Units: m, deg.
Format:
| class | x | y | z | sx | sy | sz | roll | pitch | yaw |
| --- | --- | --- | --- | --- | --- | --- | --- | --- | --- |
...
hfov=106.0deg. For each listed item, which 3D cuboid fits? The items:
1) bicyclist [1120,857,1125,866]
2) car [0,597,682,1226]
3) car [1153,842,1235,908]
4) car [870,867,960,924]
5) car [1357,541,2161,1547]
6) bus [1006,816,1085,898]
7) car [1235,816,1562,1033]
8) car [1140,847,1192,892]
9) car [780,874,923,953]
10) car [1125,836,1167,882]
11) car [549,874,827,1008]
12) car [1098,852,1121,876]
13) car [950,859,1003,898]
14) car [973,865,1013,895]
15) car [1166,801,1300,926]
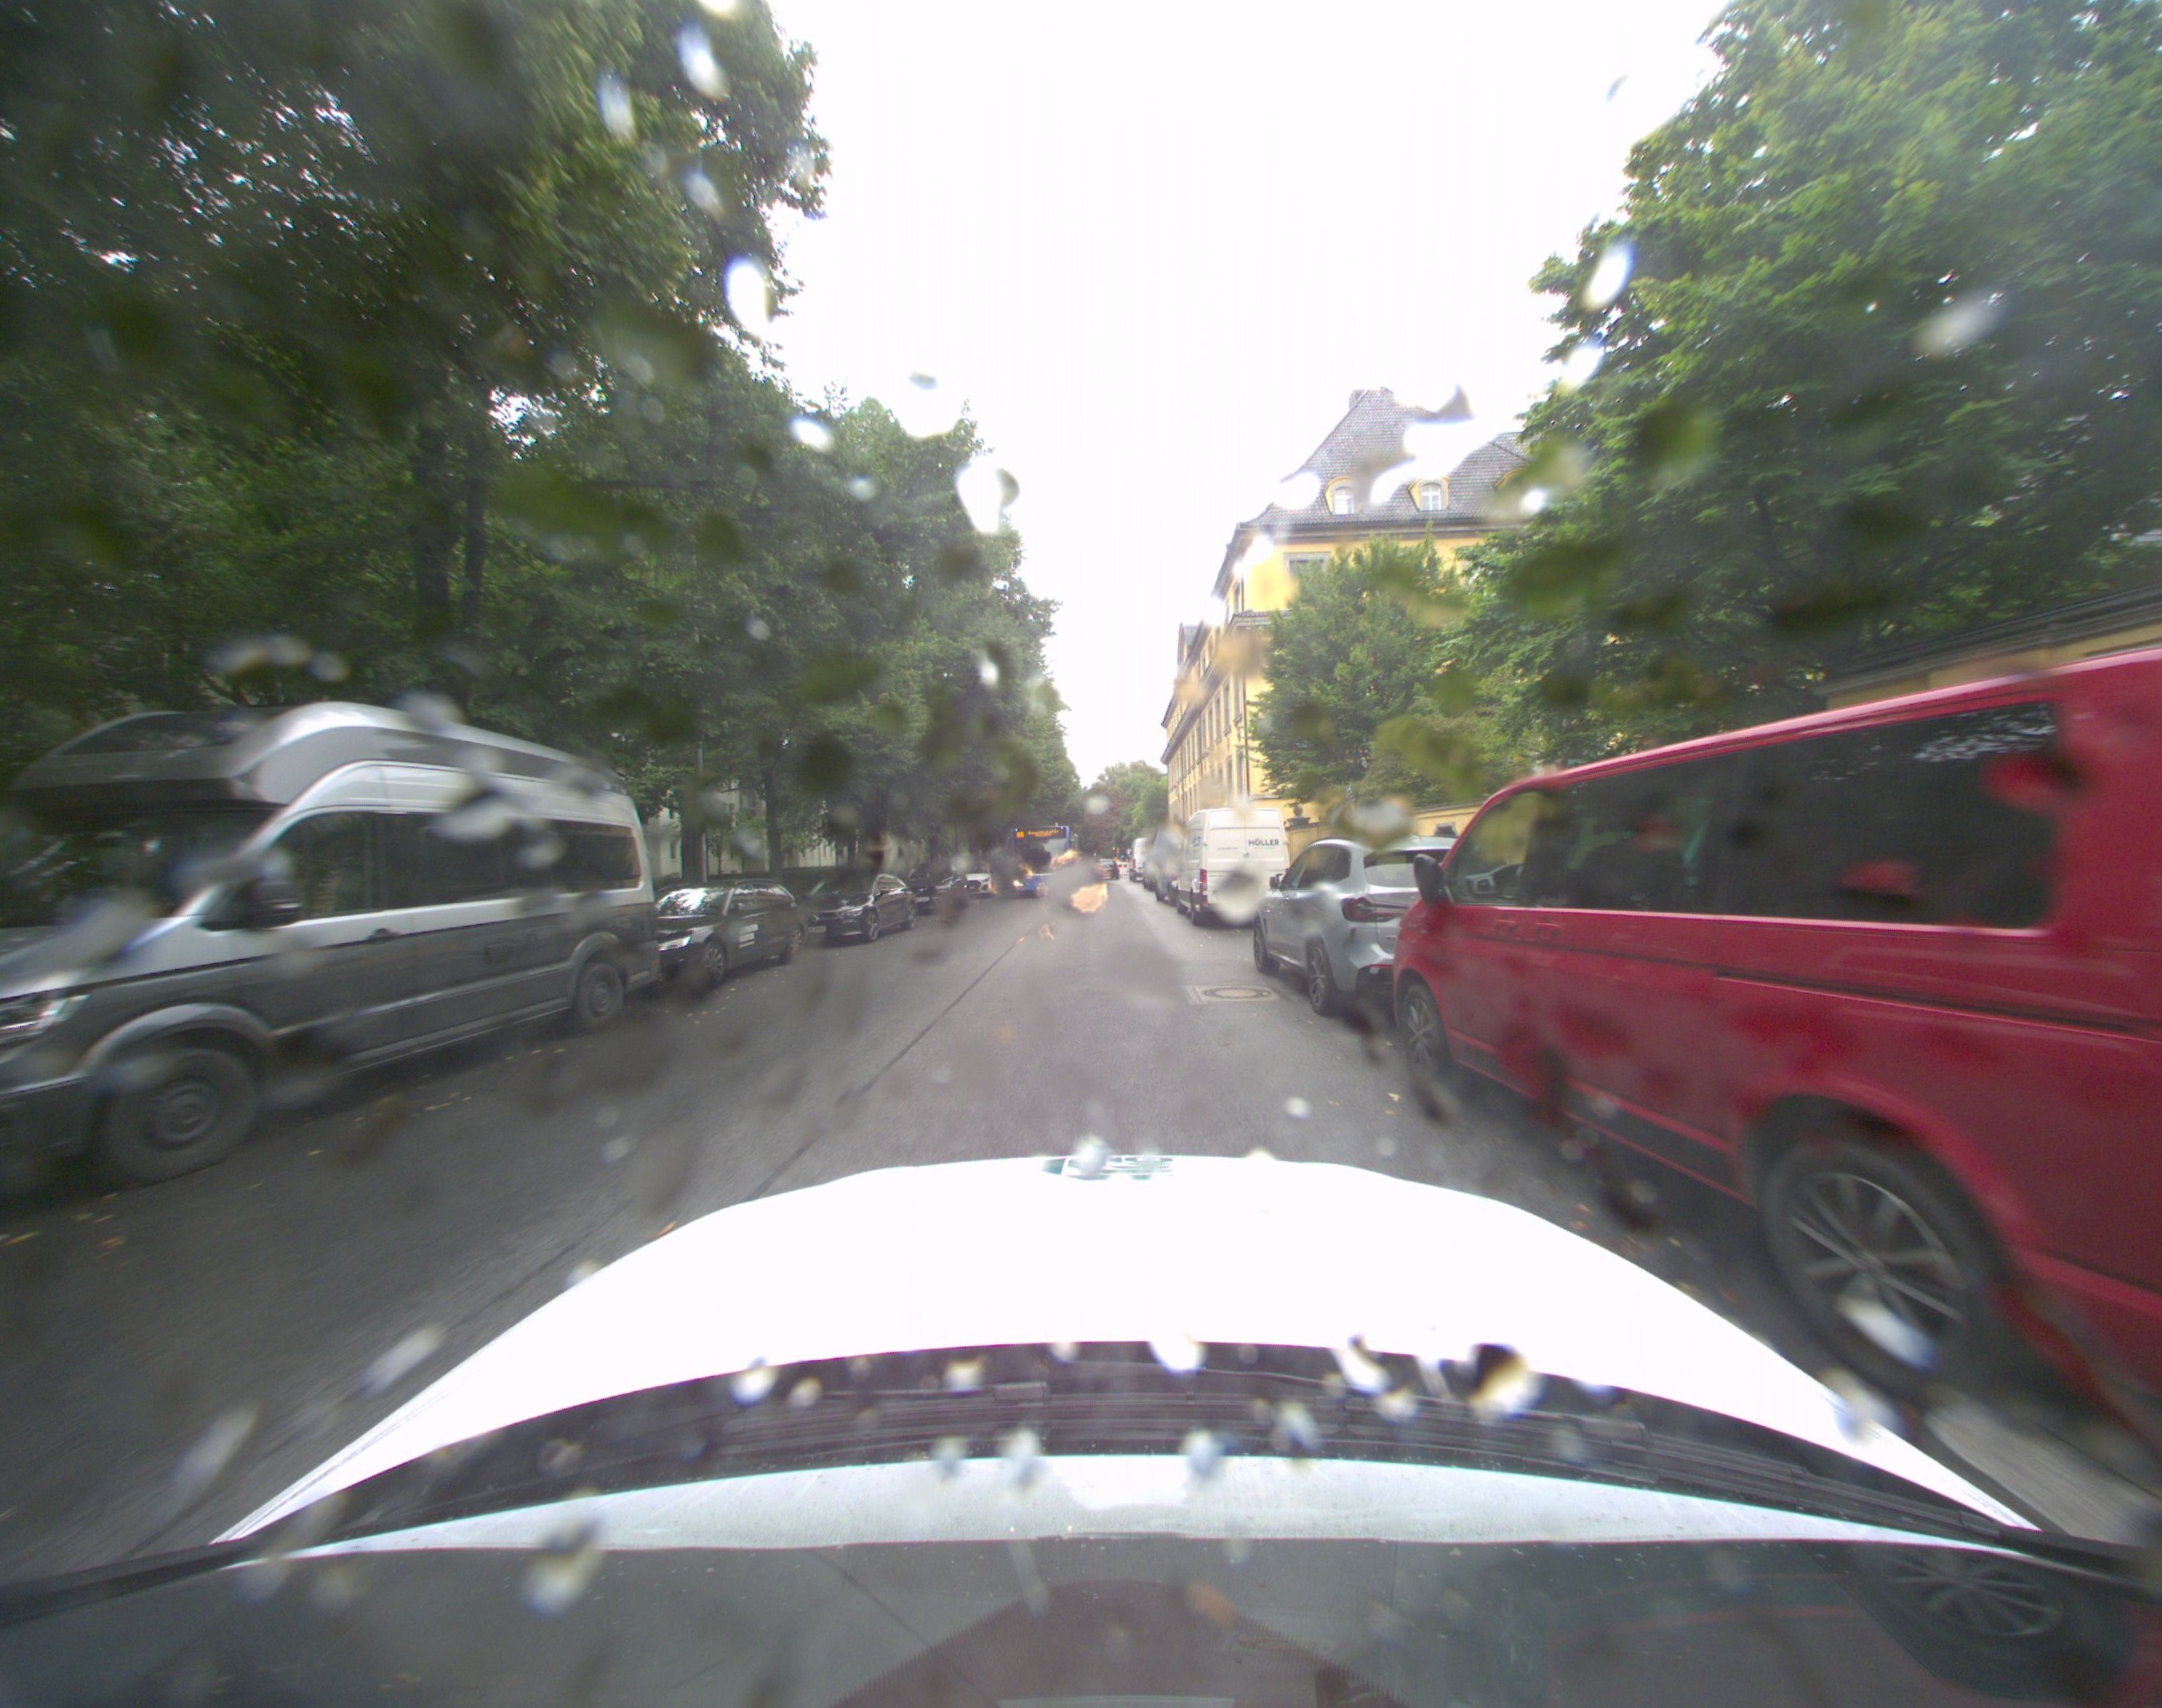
| class | x | y | z | sx | sy | sz | roll | pitch | yaw |
| --- | --- | --- | --- | --- | --- | --- | --- | --- | --- |
| bicyclist | 7.007 | 1.310 | 136.913 | 0.680 | 1.504 | 0.899 | -2 | -1 | -7 |
| car | -5.776 | 0.344 | 6.393 | 1.937 | 2.854 | 6.238 | -2 | -1 | 2 |
| car | 3.584 | 0.644 | 26.767 | 2.007 | 1.906 | 5.163 | -1 | -1 | 0 |
| car | -4.800 | 1.144 | 24.076 | 1.784 | 1.454 | 3.948 | -2 | -1 | 0 |
| car | 3.042 | 0.392 | 3.458 | 1.852 | 1.967 | 5.444 | -2 | -1 | 0 |
| bus | -1.391 | 0.317 | 42.267 | 2.849 | 3.239 | 18.426 | -2 | -1 | 1 |
| car | 3.025 | 0.592 | 8.956 | 1.852 | 1.741 | 4.603 | -1 | -1 | 1 |
| car | 3.878 | 0.718 | 37.950 | 1.865 | 1.869 | 4.985 | -2 | -1 | 0 |
| car | -4.871 | 1.206 | 17.970 | 1.784 | 1.438 | 4.550 | -2 | -1 | 0 |
| car | 4.076 | 0.366 | 52.409 | 2.048 | 2.673 | 7.612 | -2 | -1 | 0 |
| car | -5.570 | 1.134 | 12.344 | 1.783 | 1.438 | 4.581 | -3 | 0 | 2 |
| car | 2.077 | 0.694 | 58.612 | 1.571 | 1.584 | 4.046 | -2 | -1 | 2 |
| car | -4.770 | 1.099 | 37.727 | 1.778 | 1.597 | 4.583 | -2 | -1 | 0 |
| car | -4.717 | 1.364 | 44.251 | 1.667 | 1.469 | 4.103 | -2 | -1 | 0 |
| car | 3.430 | 0.263 | 19.651 | 2.088 | 2.488 | 5.739 | -2 | -1 | 0 |
